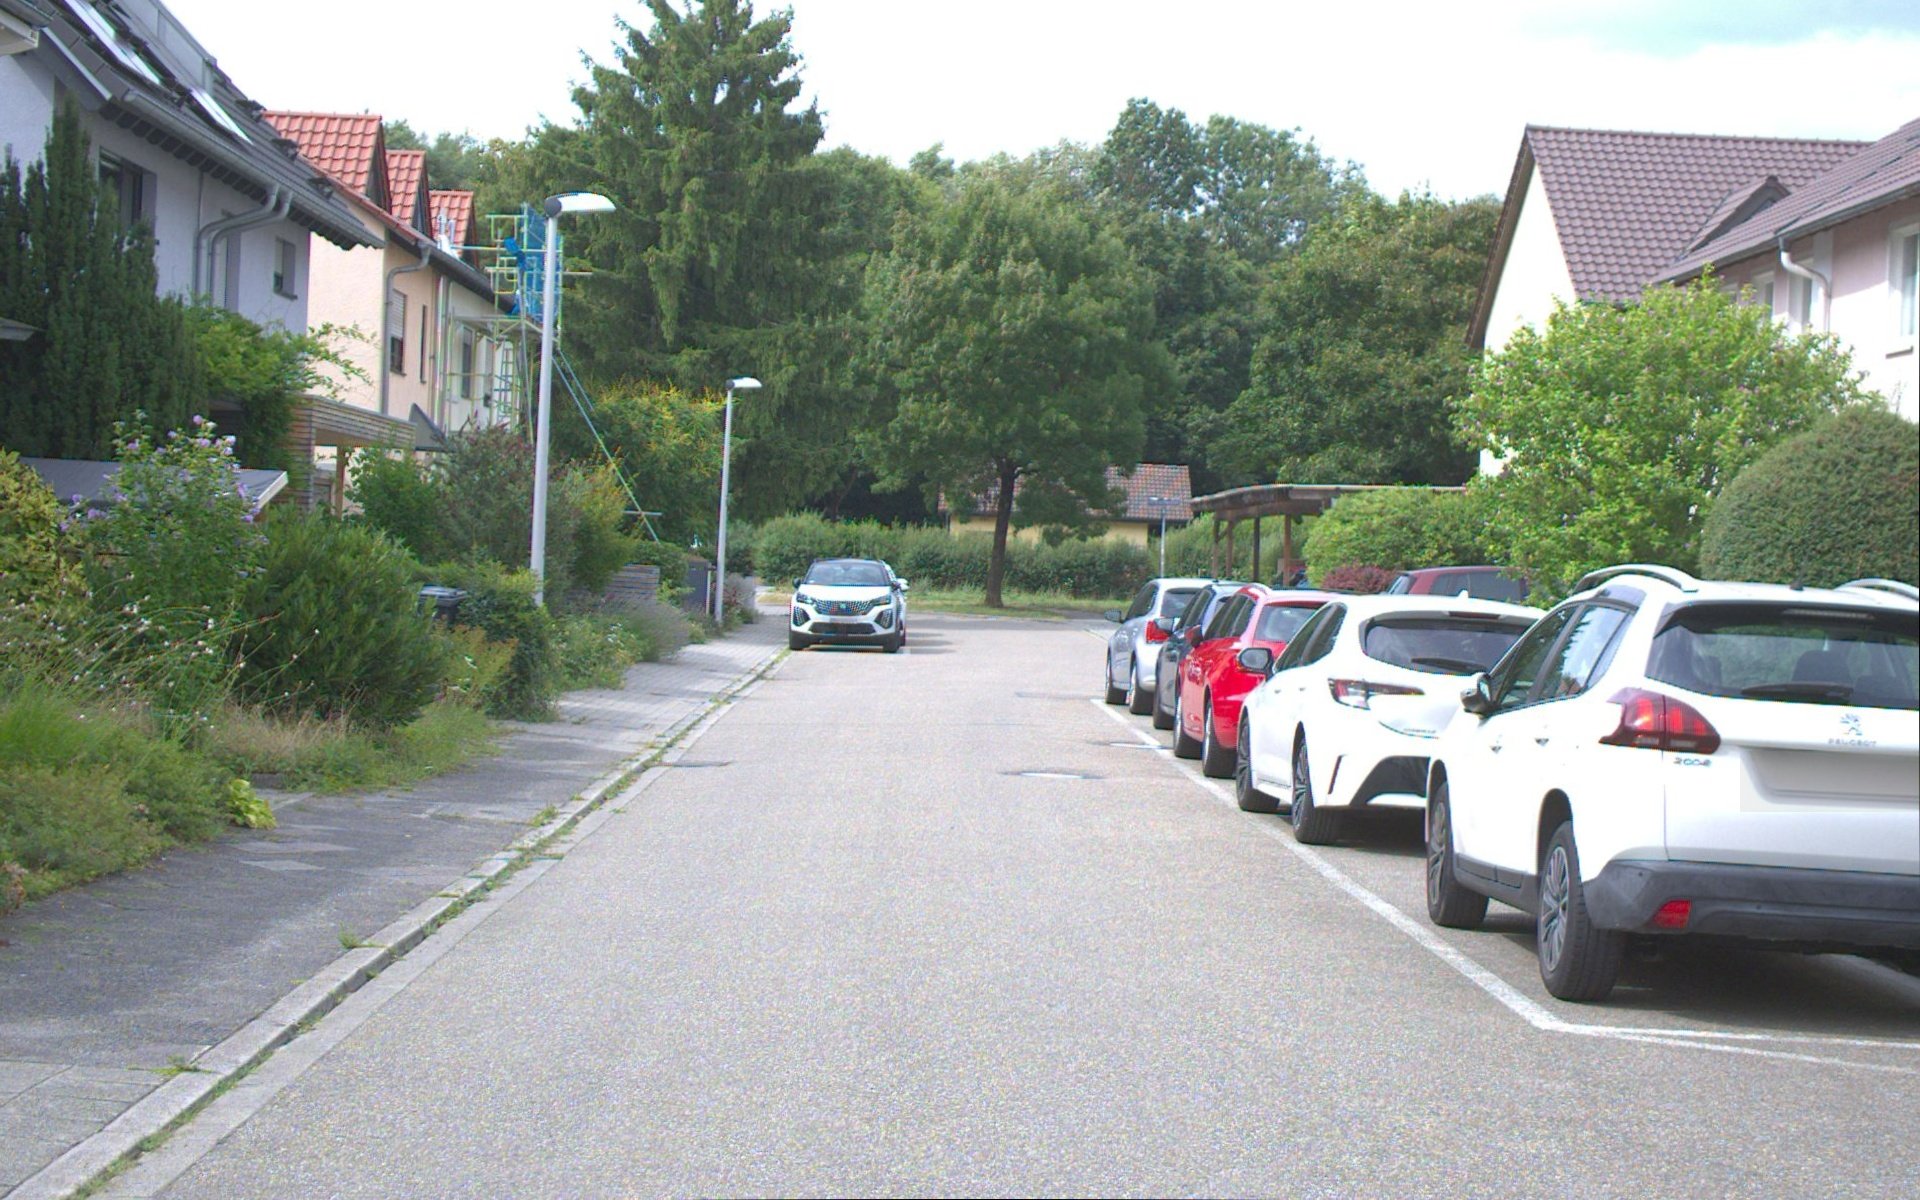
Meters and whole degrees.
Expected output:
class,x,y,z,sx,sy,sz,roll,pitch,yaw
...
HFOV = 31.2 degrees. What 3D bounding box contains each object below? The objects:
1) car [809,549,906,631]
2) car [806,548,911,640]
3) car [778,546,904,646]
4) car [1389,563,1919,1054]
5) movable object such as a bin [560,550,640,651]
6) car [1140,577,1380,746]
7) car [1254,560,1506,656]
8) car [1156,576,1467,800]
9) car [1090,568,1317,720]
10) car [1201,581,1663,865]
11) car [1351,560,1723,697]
class,x,y,z,sx,sy,sz,roll,pitch,yaw
car,-2.022,-0.227,68.807,1.791,1.526,4.140,2,1,0
car,-1.842,-0.144,63.348,1.810,1.557,4.848,2,1,-1
car,-1.966,-0.105,57.948,1.934,1.551,4.634,2,1,0
car,2.894,0.694,13.467,1.713,1.538,3.974,4,1,-2
movable object such as a bin,-4.823,0.000,46.107,0.949,1.307,1.001,2,1,-1
car,2.680,0.513,31.573,1.773,1.351,4.265,2,1,0
car,7.341,0.120,60.355,4.045,1.517,1.951,2,1,-3
car,2.626,0.608,26.739,1.773,1.431,4.826,4,1,-1
car,2.558,0.429,37.071,1.864,1.412,4.254,3,1,-3
car,2.693,0.648,20.724,1.837,1.408,4.637,2,1,-3
car,7.144,0.334,42.907,4.270,1.555,1.935,2,1,0
